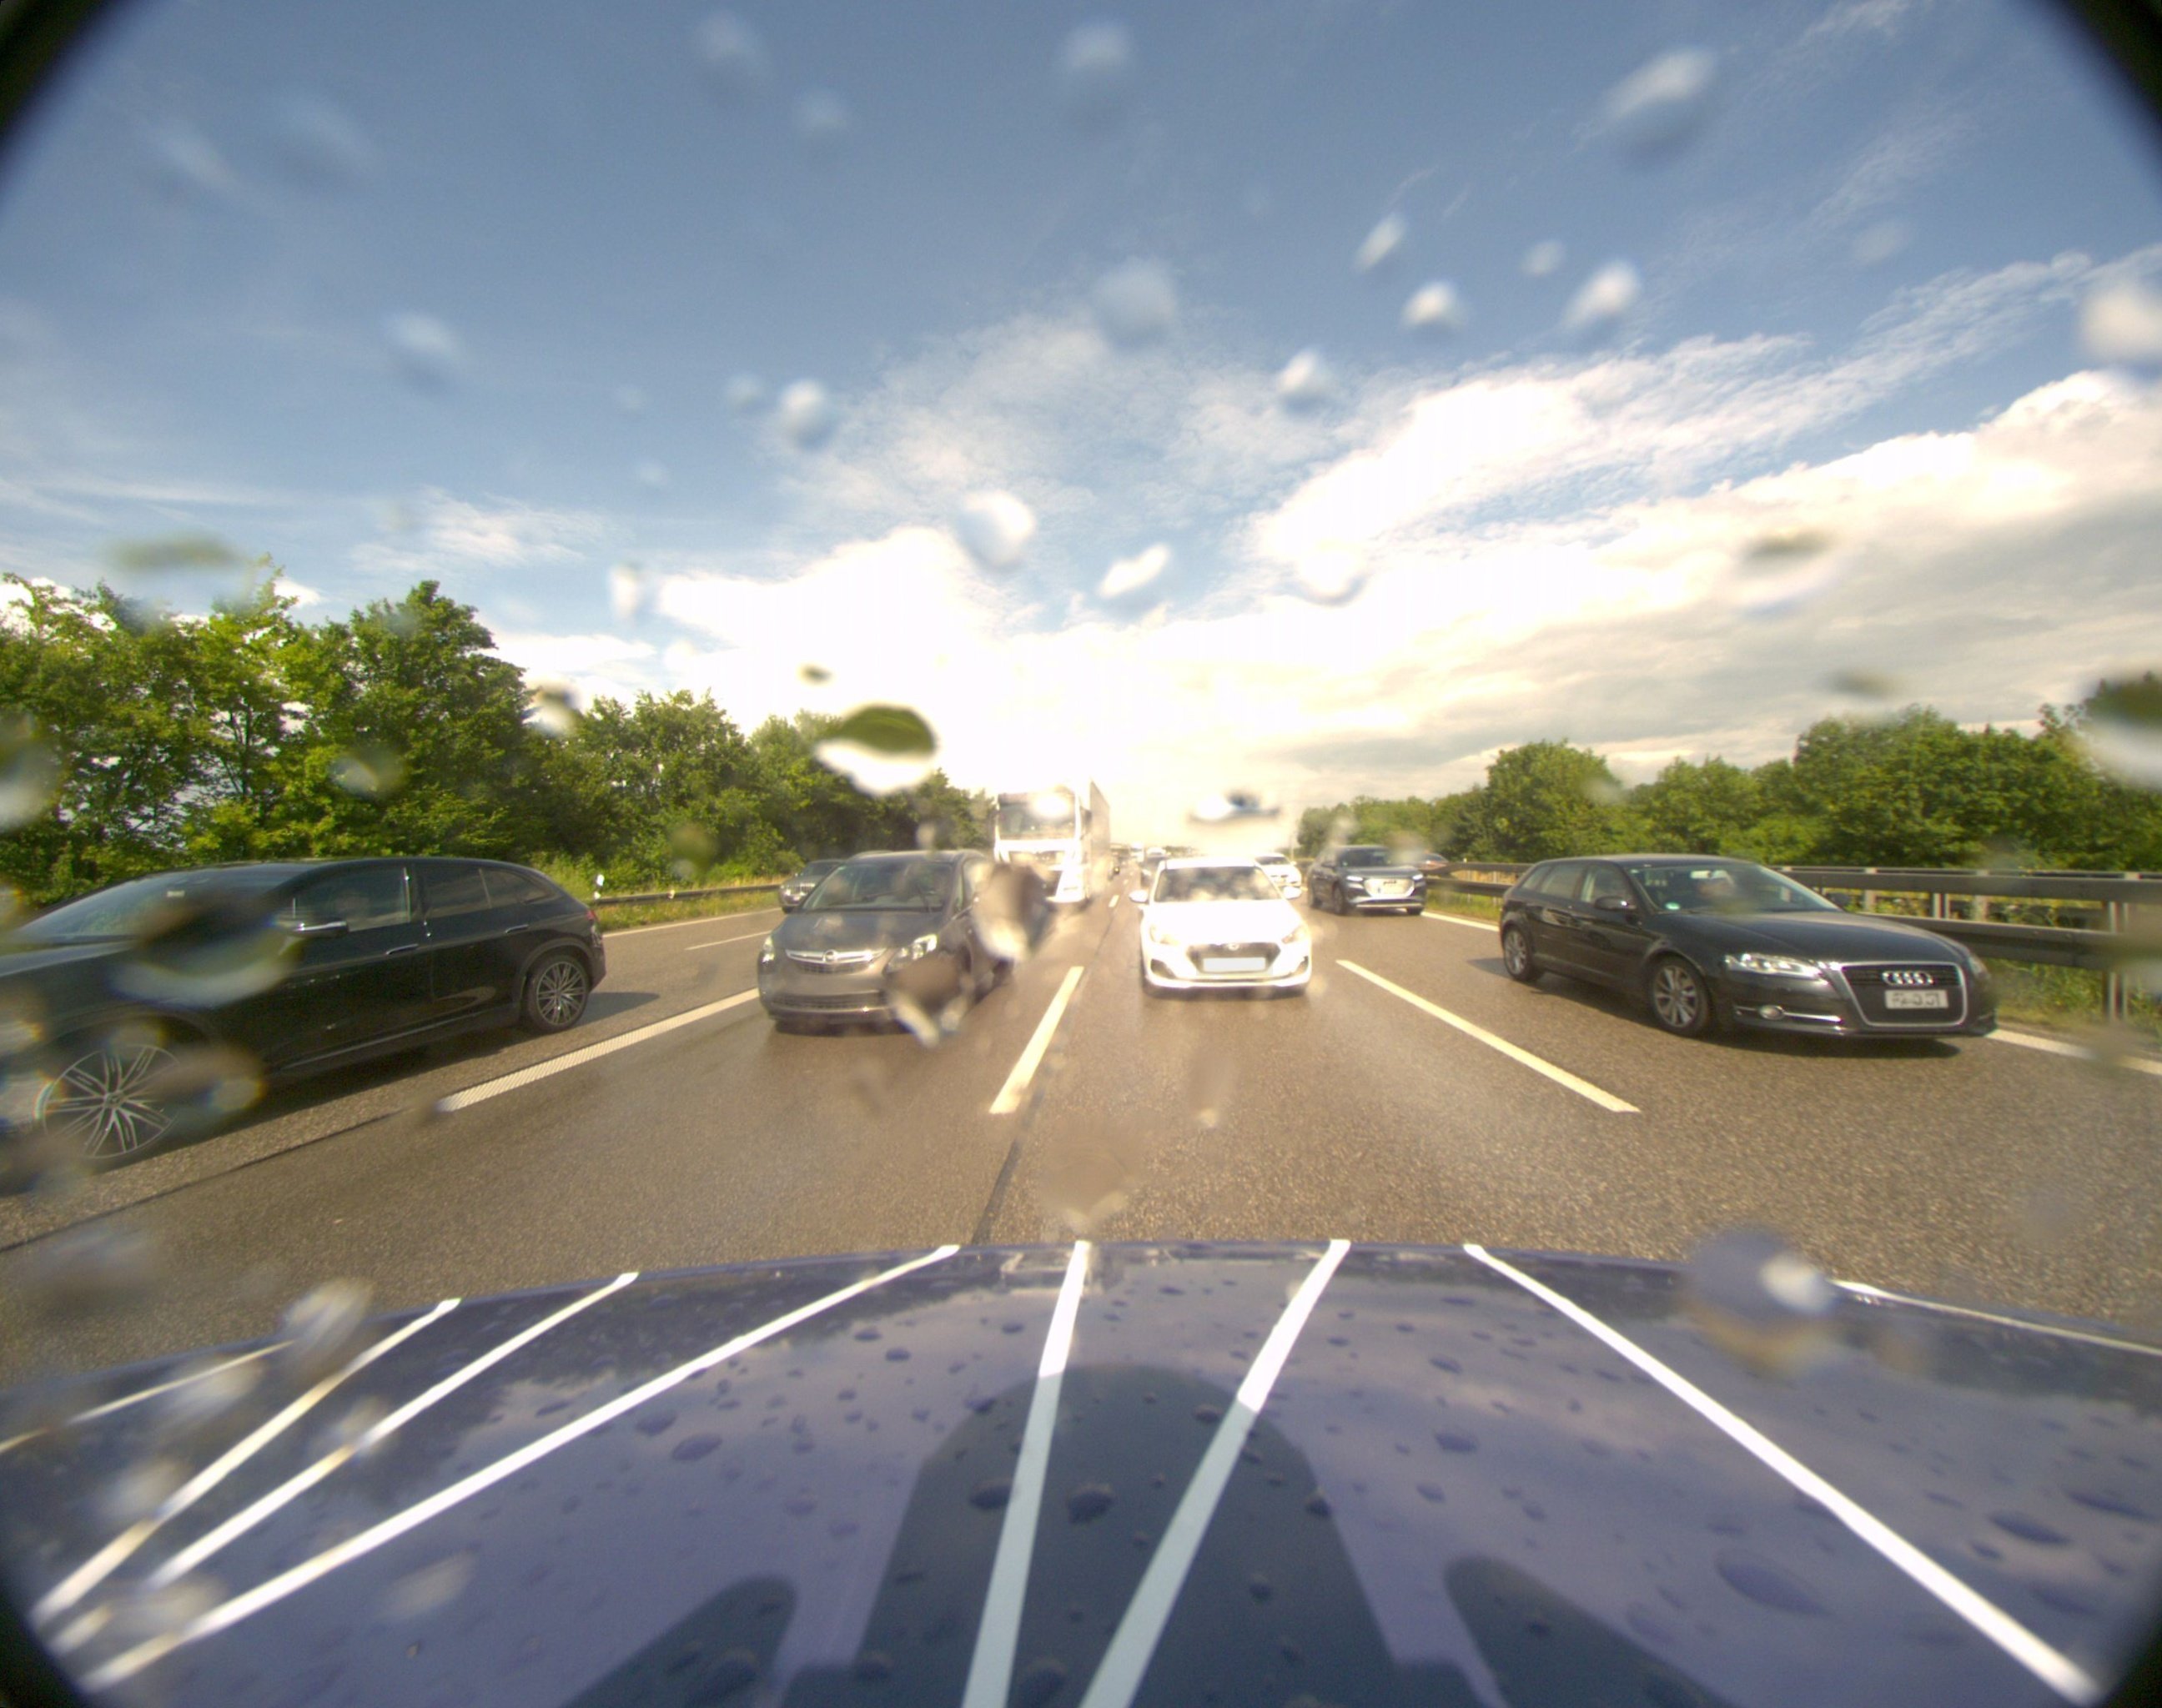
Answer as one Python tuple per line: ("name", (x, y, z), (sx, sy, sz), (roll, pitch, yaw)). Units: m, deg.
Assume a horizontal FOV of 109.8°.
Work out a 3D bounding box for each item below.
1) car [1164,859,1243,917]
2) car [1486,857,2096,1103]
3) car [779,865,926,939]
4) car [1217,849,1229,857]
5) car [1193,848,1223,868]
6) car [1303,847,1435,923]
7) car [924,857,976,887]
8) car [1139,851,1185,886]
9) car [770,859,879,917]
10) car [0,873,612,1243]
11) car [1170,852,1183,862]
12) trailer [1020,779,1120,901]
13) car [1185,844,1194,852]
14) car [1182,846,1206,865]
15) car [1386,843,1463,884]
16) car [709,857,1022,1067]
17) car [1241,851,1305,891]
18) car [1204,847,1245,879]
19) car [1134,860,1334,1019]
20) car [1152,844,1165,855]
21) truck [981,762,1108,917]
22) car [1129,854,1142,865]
("car", (3.218, 0.851, 20.682), (1.728, 1.330, 4.288), (-1, 0, 4))
("car", (5.457, 0.801, 6.749), (1.770, 1.417, 4.140), (-2, 1, 5))
("car", (-5.201, 1.034, 17.994), (1.755, 1.402, 4.512), (-2, 0, 5))
("car", (33.150, -0.238, 177.283), (1.998, 2.002, 4.654), (-1, 0, 3))
("car", (10.534, 0.345, 63.347), (1.998, 1.471, 4.000), (-3, 1, 4))
("car", (6.755, 0.647, 18.313), (1.874, 1.597, 4.230), (-1, 0, 5))
("car", (-7.228, 0.981, 42.458), (1.791, 1.454, 4.507), (-2, 1, 4))
("car", (3.856, 0.664, 36.694), (1.998, 1.477, 4.000), (-1, 1, 4))
("car", (-8.008, 1.004, 24.168), (1.752, 1.577, 4.287), (-2, 1, 3))
("car", (-5.839, 1.006, 5.281), (1.998, 1.572, 4.654), (-1, 0, 4))
("car", (17.440, 0.501, 138.434), (1.998, 1.687, 4.000), (-3, 1, 4))
("trailer", (-0.087, -0.525, 31.855), (2.789, 4.082, 11.542), (-2, 1, 6))
("car", (26.842, -1.489, 187.870), (1.998, 1.768, 4.462), (-1, 0, 4))
("car", (11.276, 0.161, 75.879), (1.998, 1.687, 4.000), (-3, 1, 4))
("car", (15.580, 0.402, 34.674), (1.998, 1.725, 4.001), (-1, 0, 5))
("car", (-1.918, 0.892, 8.324), (1.883, 1.638, 4.397), (-1, 0, 4))
("car", (7.666, 0.639, 30.693), (1.771, 1.371, 4.000), (-1, 1, 4))
("car", (8.909, 0.532, 47.530), (1.998, 1.739, 4.000), (-3, 1, 4))
("car", (1.635, 0.855, 9.617), (1.885, 1.446, 4.549), (-1, 0, 4))
("car", (12.532, -0.739, 123.231), (1.998, 1.687, 4.000), (-3, 1, 4))
("truck", (-0.858, -0.417, 24.169), (2.816, 4.083, 7.448), (-2, 1, 6))
("car", (9.201, 0.899, 128.569), (1.998, 1.687, 4.000), (-3, 1, 4))
